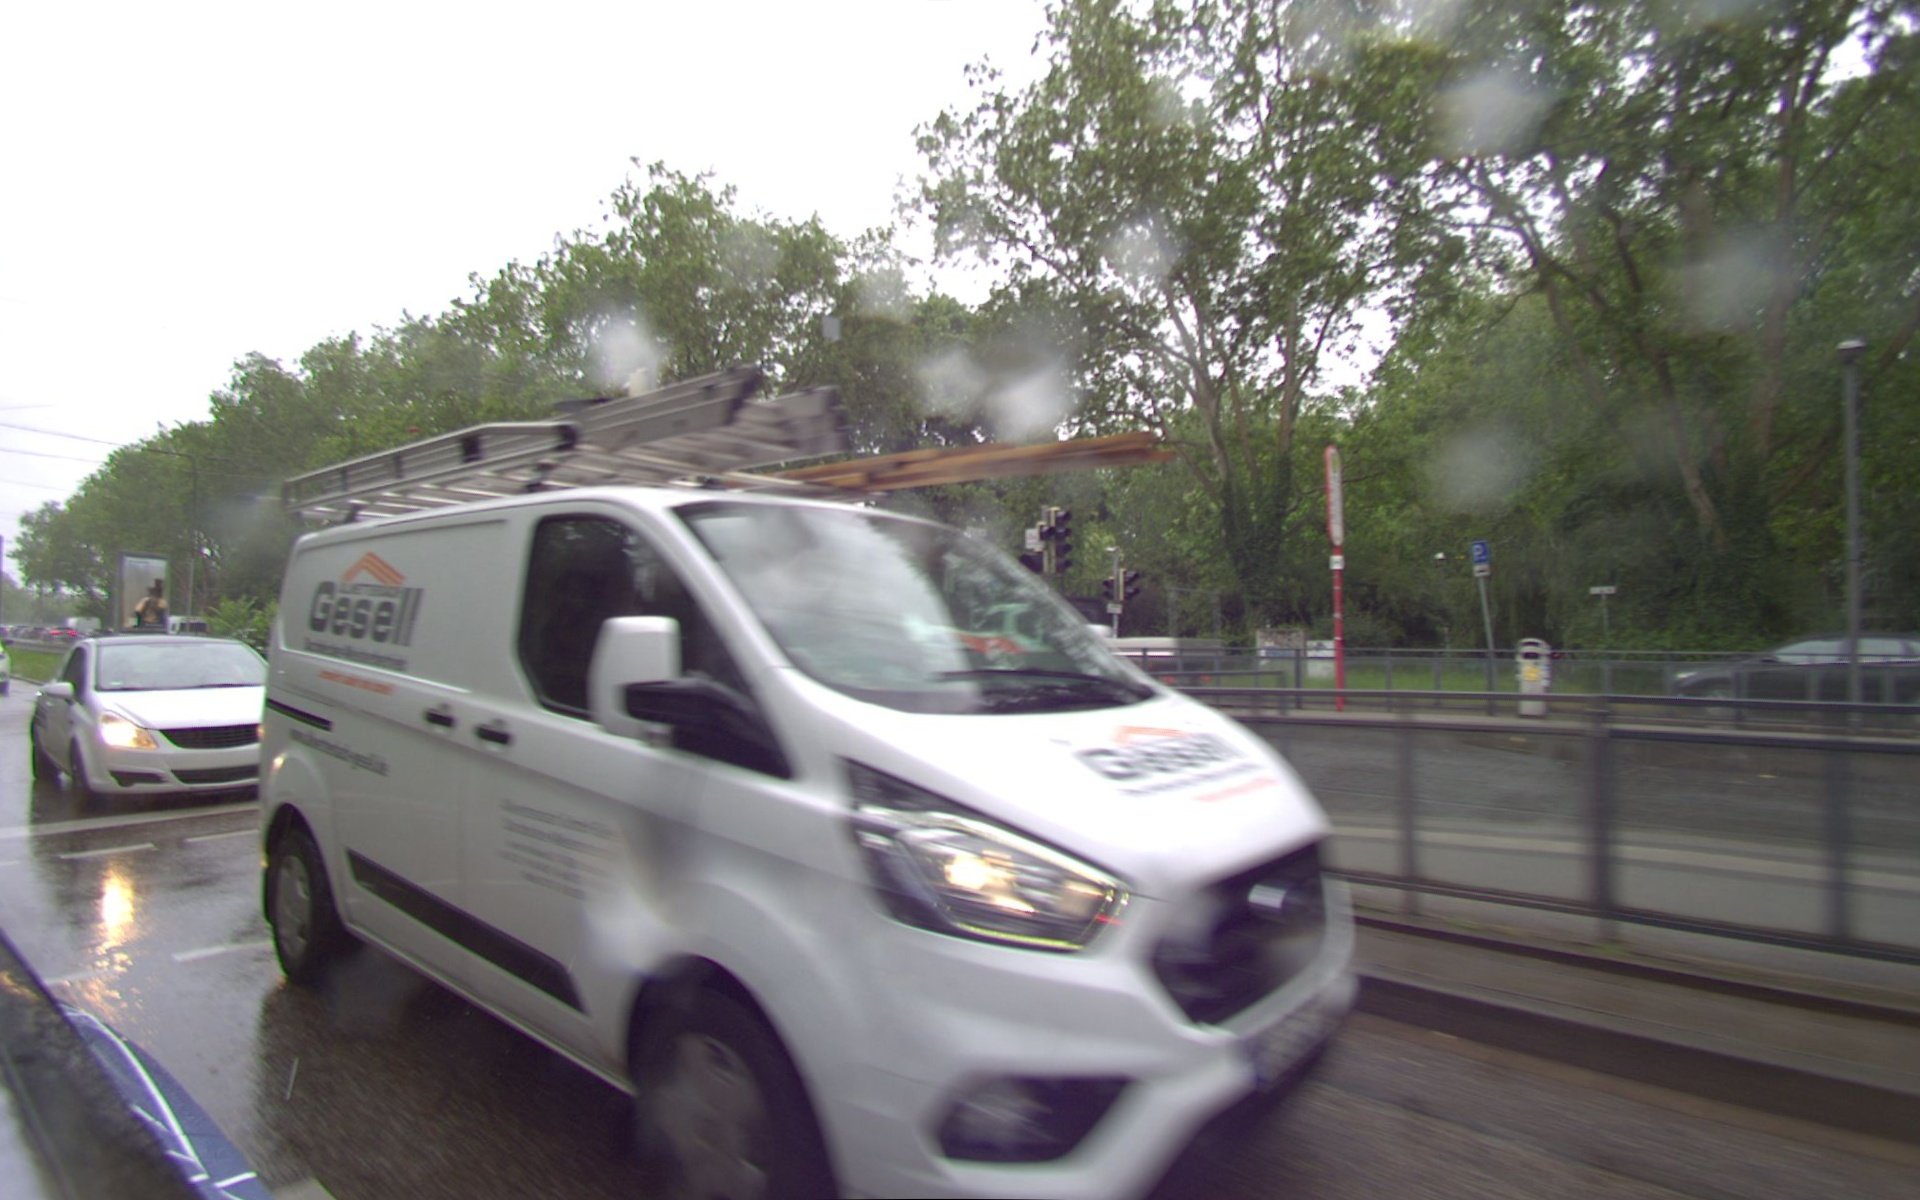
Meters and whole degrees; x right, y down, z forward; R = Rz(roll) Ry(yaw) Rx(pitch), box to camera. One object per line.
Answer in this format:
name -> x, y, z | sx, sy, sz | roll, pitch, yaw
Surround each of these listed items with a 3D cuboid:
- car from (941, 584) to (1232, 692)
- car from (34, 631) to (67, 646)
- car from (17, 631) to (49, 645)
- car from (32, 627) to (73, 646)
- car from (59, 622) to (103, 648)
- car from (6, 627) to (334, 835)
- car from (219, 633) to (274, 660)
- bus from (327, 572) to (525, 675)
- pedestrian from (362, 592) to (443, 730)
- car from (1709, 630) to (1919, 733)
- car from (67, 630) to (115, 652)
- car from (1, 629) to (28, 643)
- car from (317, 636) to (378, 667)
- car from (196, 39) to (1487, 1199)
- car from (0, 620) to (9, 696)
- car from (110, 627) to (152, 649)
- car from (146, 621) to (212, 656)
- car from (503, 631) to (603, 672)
car -> 2.560, 0.779, 21.930 | 6.111, 2.029, 2.161 | -1, -2, 41
car -> -99.794, 4.243, 111.025 | 4.379, 1.564, 2.013 | -1, -3, 39
car -> -108.504, 4.420, 118.457 | 4.379, 1.564, 2.013 | -1, -3, 39
car -> -80.534, 3.236, 89.802 | 4.390, 1.670, 1.994 | -1, -3, 39
car -> -87.865, 3.515, 101.153 | 6.134, 2.465, 2.306 | -1, -3, 40
car -> -7.488, 1.030, 9.471 | 3.803, 1.490, 1.708 | 0, -1, 41
car -> -47.464, 3.077, 67.313 | 4.526, 1.741, 1.733 | -1, -3, 39
bus -> -22.965, 0.960, 42.990 | 12.234, 3.867, 2.999 | -1, -1, 40
pedestrian -> -7.398, 0.786, 13.433 | 0.750, 1.758, 0.708 | -1, -2, 40
car -> 14.485, 1.251, 16.081 | 3.998, 1.529, 1.973 | -2, -3, 41
car -> -68.294, 3.230, 79.490 | 4.271, 1.670, 2.012 | -1, -3, 38
car -> -117.231, 4.455, 125.460 | 4.365, 1.663, 1.866 | -1, -3, 40
car -> -34.995, 2.923, 57.810 | 3.809, 1.661, 1.744 | -1, -3, 39
car -> -1.087, 0.342, 3.955 | 5.286, 2.279, 1.973 | 0, -1, 41
car -> -22.744, 1.285, 22.657 | 4.263, 1.636, 1.844 | -1, -1, 43
car -> -71.217, 3.250, 86.958 | 4.637, 1.876, 1.937 | -1, -3, 40
car -> -59.425, 2.902, 76.964 | 6.558, 2.560, 2.366 | -1, -3, 39
car -> -17.718, 2.210, 44.007 | 4.604, 1.670, 2.012 | -1, -4, 39
